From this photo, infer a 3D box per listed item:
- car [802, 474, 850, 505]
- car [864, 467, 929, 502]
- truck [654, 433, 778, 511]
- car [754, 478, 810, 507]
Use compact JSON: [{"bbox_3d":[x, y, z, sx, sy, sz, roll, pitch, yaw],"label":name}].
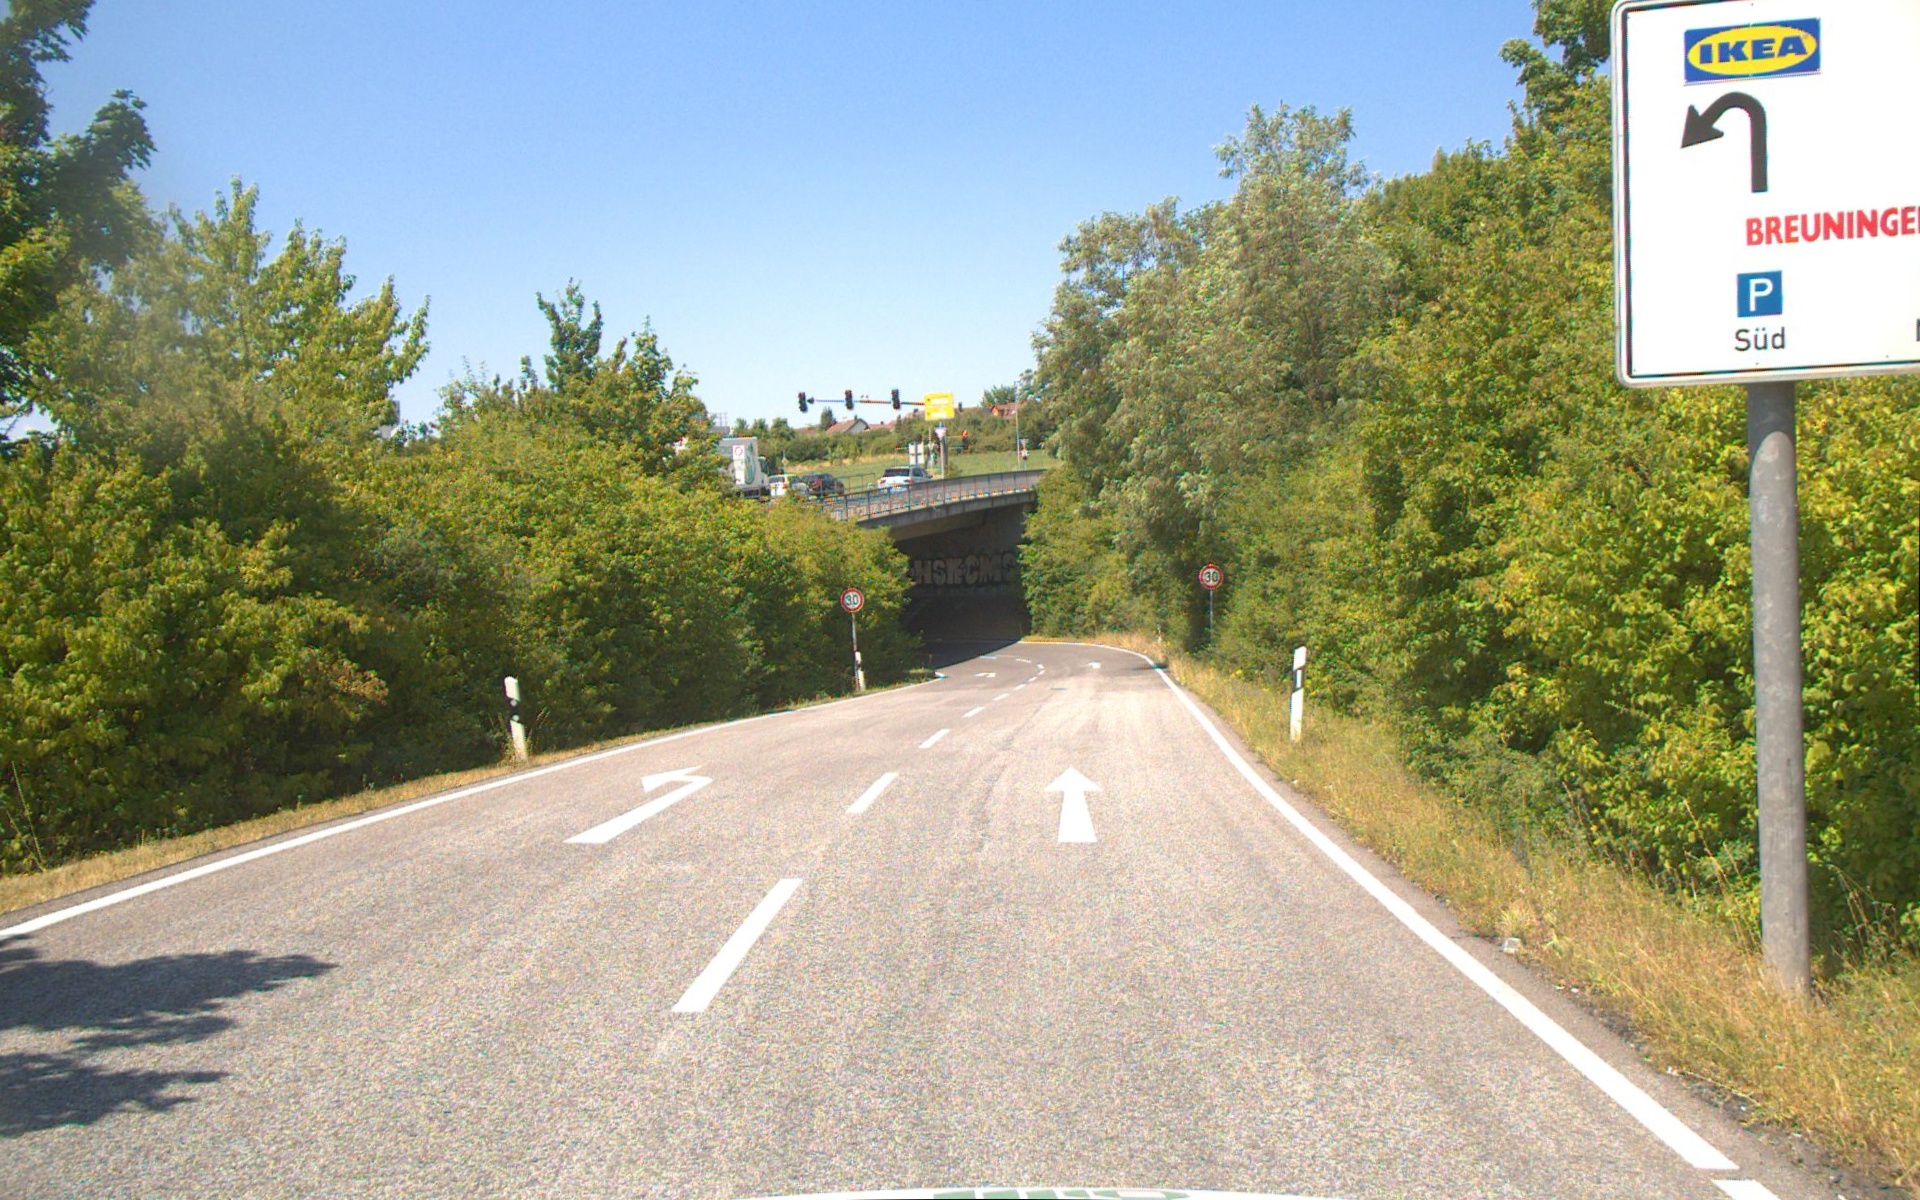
[{"bbox_3d":[-8.128,-6.710,100.611,1.951,1.646,4.004,-1,1,9],"label":"car"},{"bbox_3d":[-2.916,-5.312,76.552,1.951,1.445,4.005,-4,2,13],"label":"car"},{"bbox_3d":[-12.644,-6.657,86.753,2.963,3.651,8.913,-3,2,15],"label":"truck"},{"bbox_3d":[-10.176,-6.148,94.835,1.856,1.387,4.004,-1,1,14],"label":"car"}]
